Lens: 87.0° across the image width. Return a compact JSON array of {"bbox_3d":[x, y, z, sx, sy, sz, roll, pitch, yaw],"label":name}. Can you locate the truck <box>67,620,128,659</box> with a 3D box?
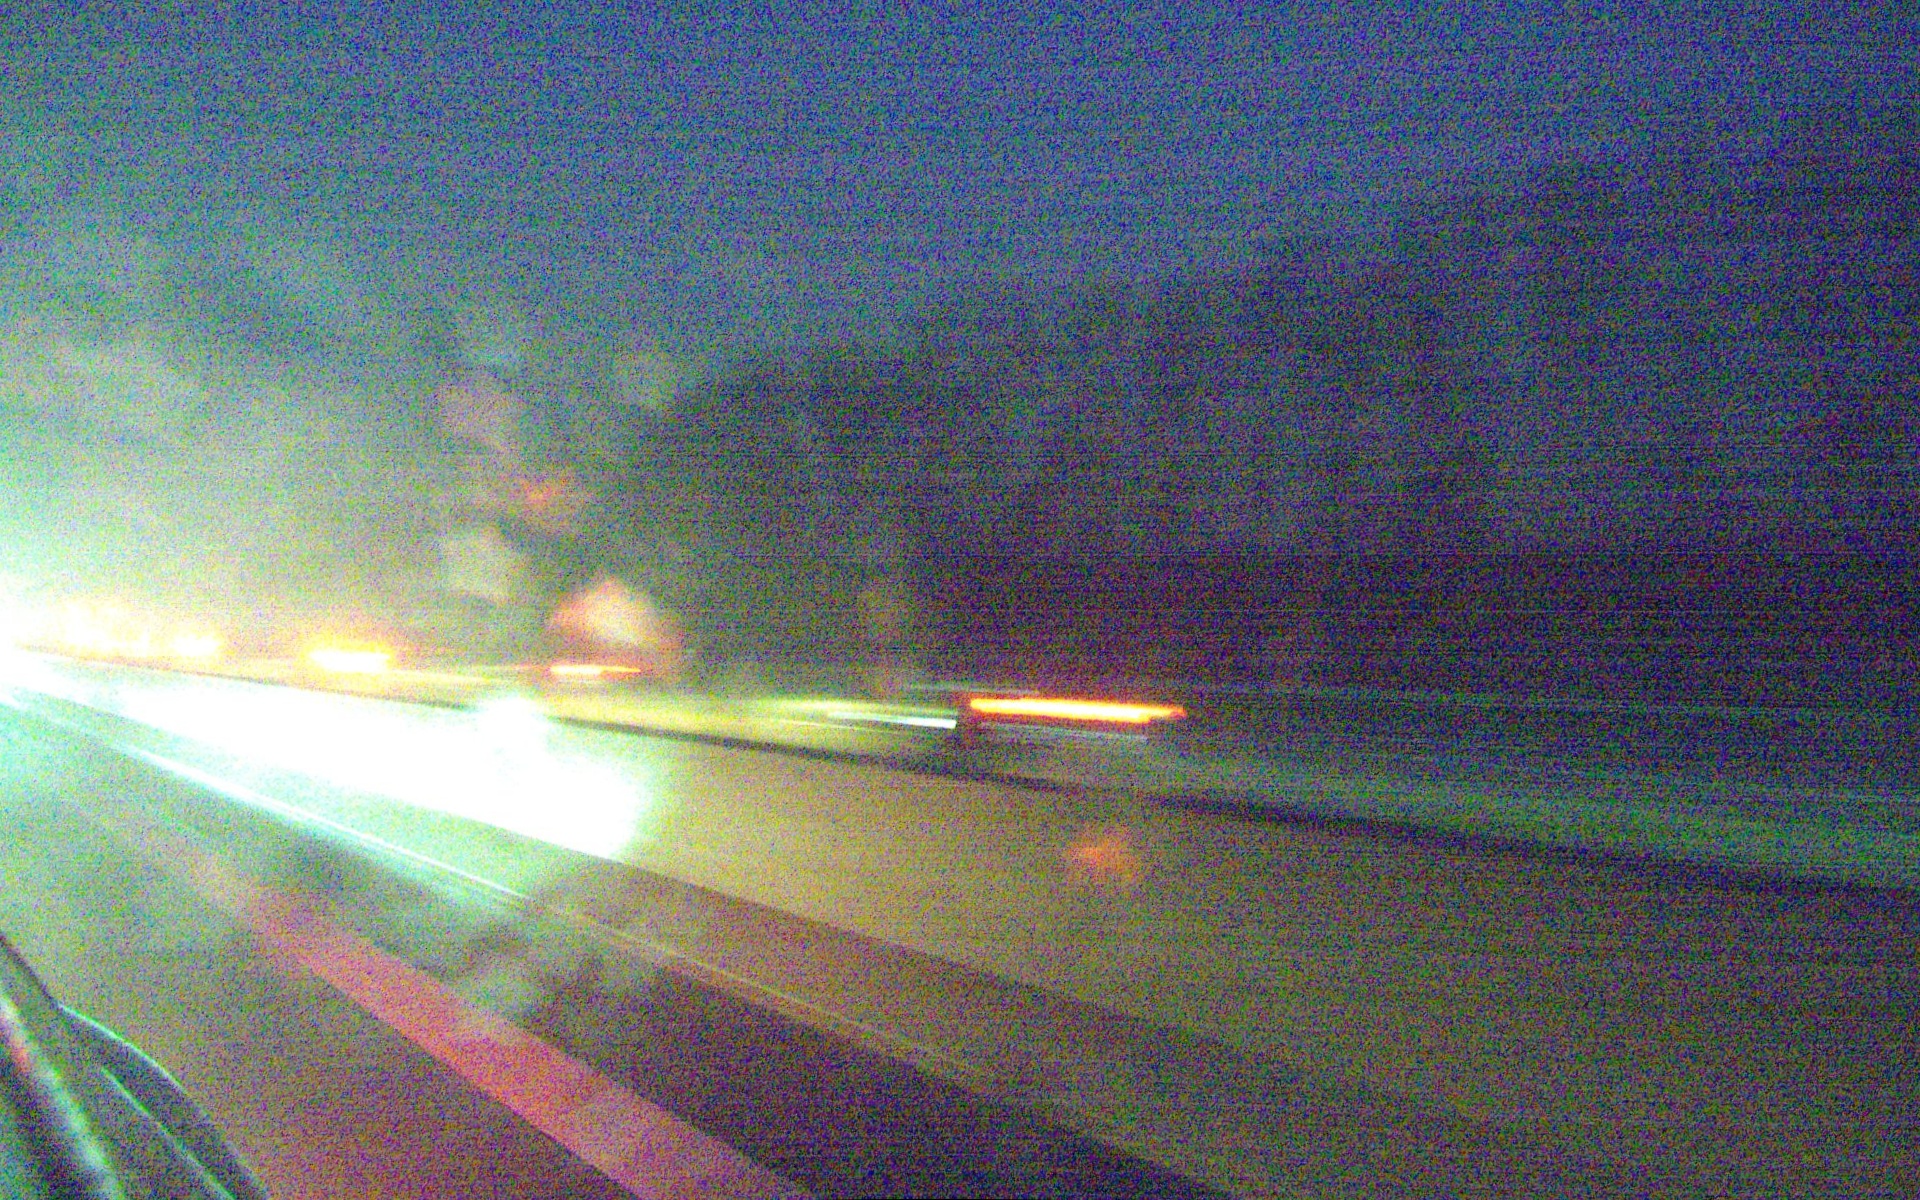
[{"bbox_3d":[-76.985,3.587,90.269,8.341,3.321,3.042,-2,-4,42],"label":"truck"}]

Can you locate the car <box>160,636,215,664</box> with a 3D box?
[{"bbox_3d":[-49.433,3.191,64.753,4.504,1.697,1.896,-1,-3,41],"label":"car"}]

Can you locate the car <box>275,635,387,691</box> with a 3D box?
[{"bbox_3d":[-21.940,2.173,35.207,4.651,1.774,1.973,-3,-1,40],"label":"car"}]

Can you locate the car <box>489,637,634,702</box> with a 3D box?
[{"bbox_3d":[-12.582,2.158,31.817,5.088,1.829,1.974,-3,-1,39],"label":"car"}]

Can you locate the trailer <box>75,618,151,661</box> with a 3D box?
[{"bbox_3d":[-71.467,3.361,85.269,13.152,3.321,3.042,-2,-4,42],"label":"trailer"}]

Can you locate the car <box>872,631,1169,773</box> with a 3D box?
[{"bbox_3d":[0.828,1.426,15.138,3.995,1.774,1.974,-3,-1,39],"label":"car"}]
